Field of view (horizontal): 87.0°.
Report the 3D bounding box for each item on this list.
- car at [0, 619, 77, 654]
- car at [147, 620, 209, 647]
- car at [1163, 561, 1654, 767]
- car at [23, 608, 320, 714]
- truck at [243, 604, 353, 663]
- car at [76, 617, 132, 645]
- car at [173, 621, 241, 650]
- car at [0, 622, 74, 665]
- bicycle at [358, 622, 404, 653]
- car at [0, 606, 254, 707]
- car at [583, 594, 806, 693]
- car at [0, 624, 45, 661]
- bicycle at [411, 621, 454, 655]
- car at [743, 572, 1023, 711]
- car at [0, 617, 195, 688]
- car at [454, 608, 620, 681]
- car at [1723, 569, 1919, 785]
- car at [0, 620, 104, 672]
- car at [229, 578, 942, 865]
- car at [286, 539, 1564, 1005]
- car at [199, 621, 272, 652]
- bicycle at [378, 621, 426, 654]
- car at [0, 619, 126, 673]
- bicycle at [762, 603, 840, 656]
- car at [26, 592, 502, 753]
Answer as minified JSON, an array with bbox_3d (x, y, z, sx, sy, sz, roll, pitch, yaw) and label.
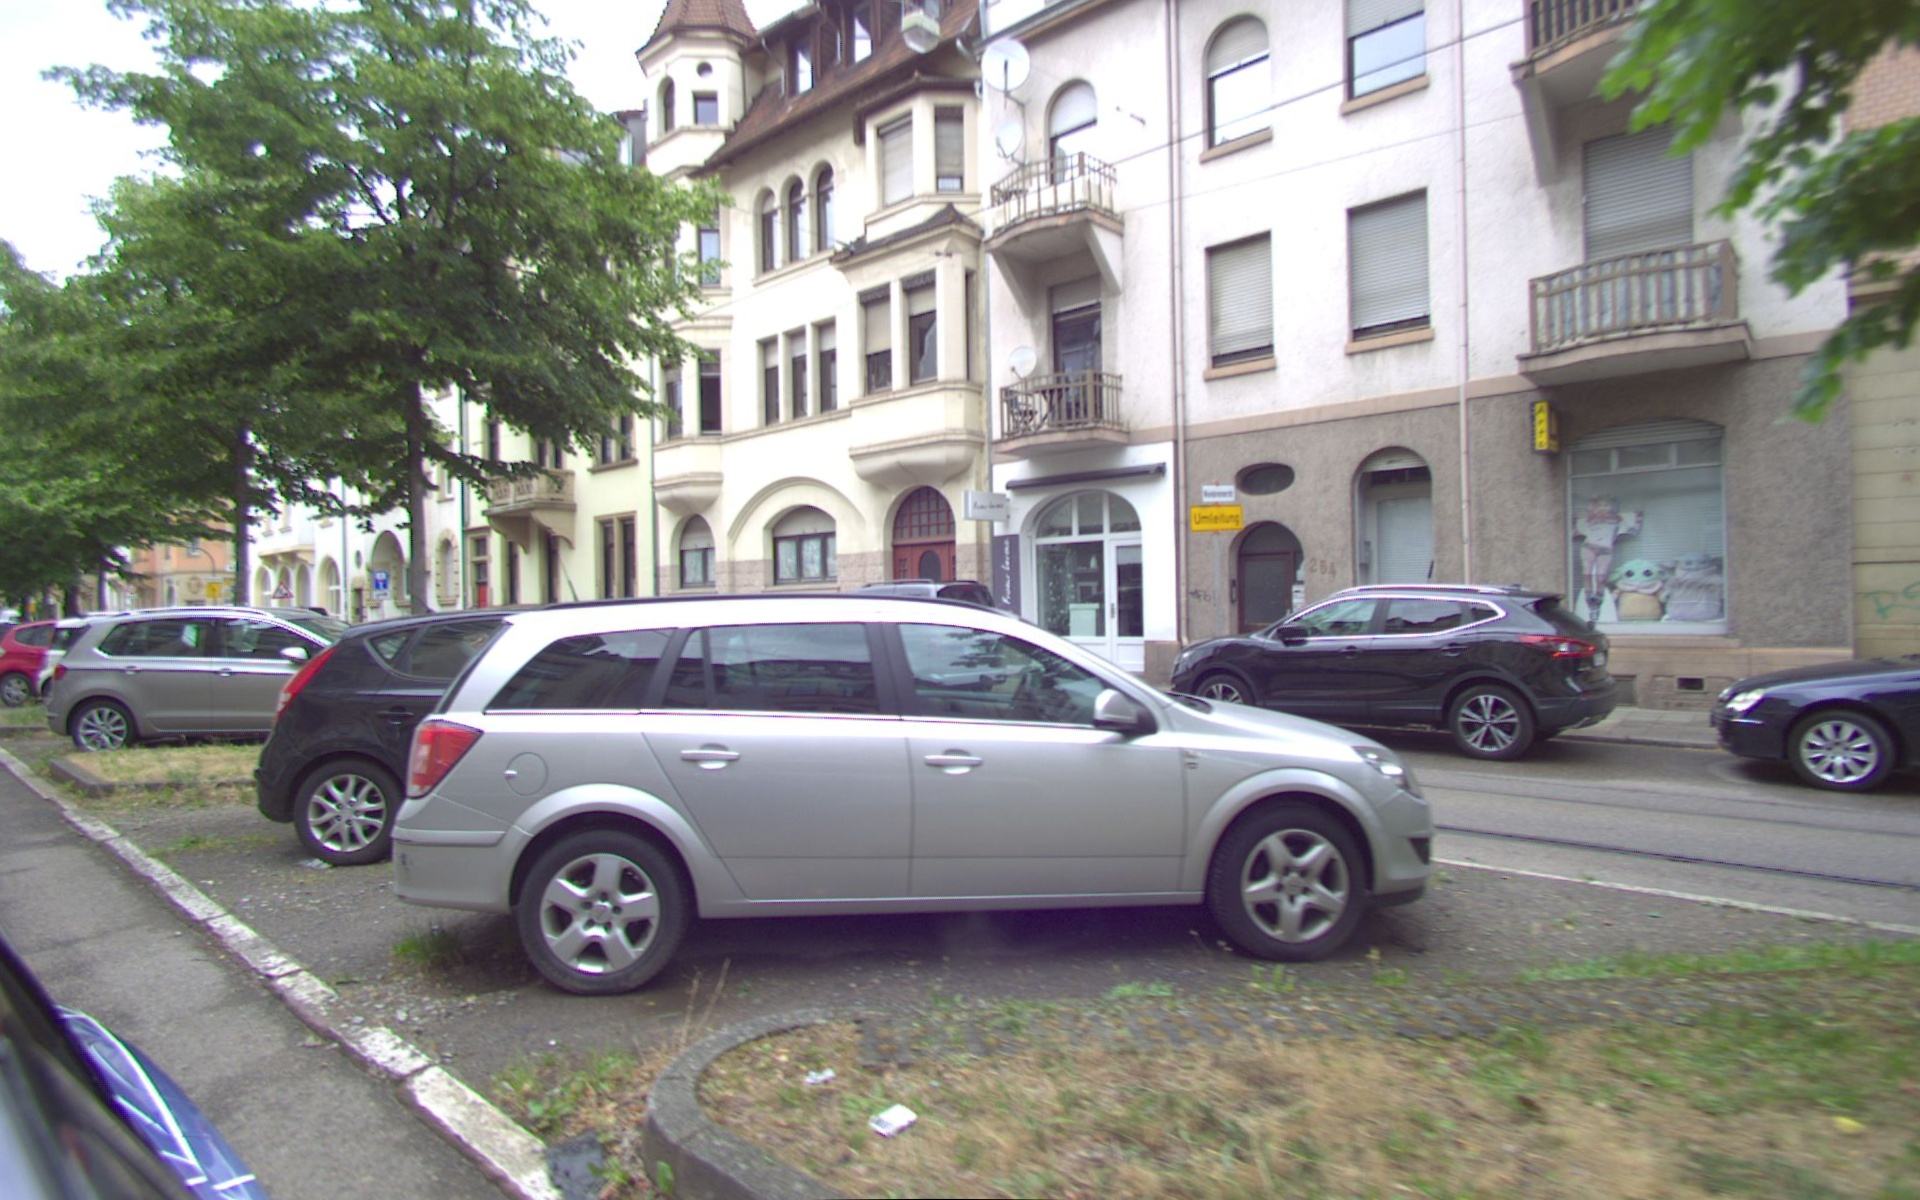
[{"bbox_3d":[-41.418,1.623,44.208,3.931,1.426,1.904,-1,-2,-28],"label":"car"},{"bbox_3d":[-37.320,1.604,48.269,3.377,1.185,1.618,-1,0,40],"label":"car"},{"bbox_3d":[4.435,0.540,10.407,4.271,1.692,1.786,-1,0,41],"label":"car"},{"bbox_3d":[-12.495,0.924,16.231,3.375,1.538,1.693,-1,1,-6],"label":"car"},{"bbox_3d":[-23.574,1.149,35.916,2.120,1.870,6.067,-1,0,-44],"label":"truck"},{"bbox_3d":[-51.085,1.840,60.395,4.509,1.617,1.773,-1,0,40],"label":"car"},{"bbox_3d":[-33.147,1.539,44.523,3.377,1.185,1.618,-1,0,40],"label":"car"},{"bbox_3d":[-33.842,1.559,35.348,3.935,1.426,1.902,-1,-2,-10],"label":"car"},{"bbox_3d":[-22.109,1.438,38.626,1.908,1.135,0.607,-2,2,30],"label":"bicycle"},{"bbox_3d":[-15.309,0.990,18.342,3.756,1.538,1.677,-3,1,-3],"label":"car"},{"bbox_3d":[-5.153,0.779,19.351,4.489,1.672,1.832,-2,-1,39],"label":"car"},{"bbox_3d":[-38.946,1.738,39.834,3.935,1.426,1.902,-1,-2,-10],"label":"car"},{"bbox_3d":[-18.587,1.342,35.646,1.915,1.135,0.605,-2,2,41],"label":"bicycle"},{"bbox_3d":[-1.320,0.595,15.899,4.430,1.885,1.831,-2,-1,42],"label":"car"},{"bbox_3d":[-20.761,1.205,23.483,4.540,1.477,1.887,-2,0,-2],"label":"car"},{"bbox_3d":[-9.958,0.999,23.714,4.190,1.534,1.832,-2,-1,39],"label":"car"},{"bbox_3d":[8.091,0.509,6.990,4.385,1.501,1.786,-1,0,41],"label":"car"},{"bbox_3d":[-28.360,1.395,30.226,3.939,1.478,1.900,-2,-2,-4],"label":"car"},{"bbox_3d":[-2.150,0.675,6.628,3.941,1.496,1.777,-2,0,-3],"label":"car"},{"bbox_3d":[-0.117,0.584,4.524,4.498,1.504,1.865,-2,1,-2],"label":"car"},{"bbox_3d":[-29.656,1.484,41.406,3.377,1.185,1.618,-1,0,40],"label":"car"},{"bbox_3d":[-20.547,1.397,37.272,1.908,1.135,0.607,-2,2,30],"label":"bicycle"},{"bbox_3d":[-25.722,1.283,28.041,3.681,1.399,1.791,-2,-2,-4],"label":"car"},{"bbox_3d":[-3.488,0.635,22.077,1.868,1.096,0.647,-2,0,44],"label":"bicycle"},{"bbox_3d":[-7.676,0.744,11.534,4.141,1.621,1.728,-1,1,-7],"label":"car"}]
